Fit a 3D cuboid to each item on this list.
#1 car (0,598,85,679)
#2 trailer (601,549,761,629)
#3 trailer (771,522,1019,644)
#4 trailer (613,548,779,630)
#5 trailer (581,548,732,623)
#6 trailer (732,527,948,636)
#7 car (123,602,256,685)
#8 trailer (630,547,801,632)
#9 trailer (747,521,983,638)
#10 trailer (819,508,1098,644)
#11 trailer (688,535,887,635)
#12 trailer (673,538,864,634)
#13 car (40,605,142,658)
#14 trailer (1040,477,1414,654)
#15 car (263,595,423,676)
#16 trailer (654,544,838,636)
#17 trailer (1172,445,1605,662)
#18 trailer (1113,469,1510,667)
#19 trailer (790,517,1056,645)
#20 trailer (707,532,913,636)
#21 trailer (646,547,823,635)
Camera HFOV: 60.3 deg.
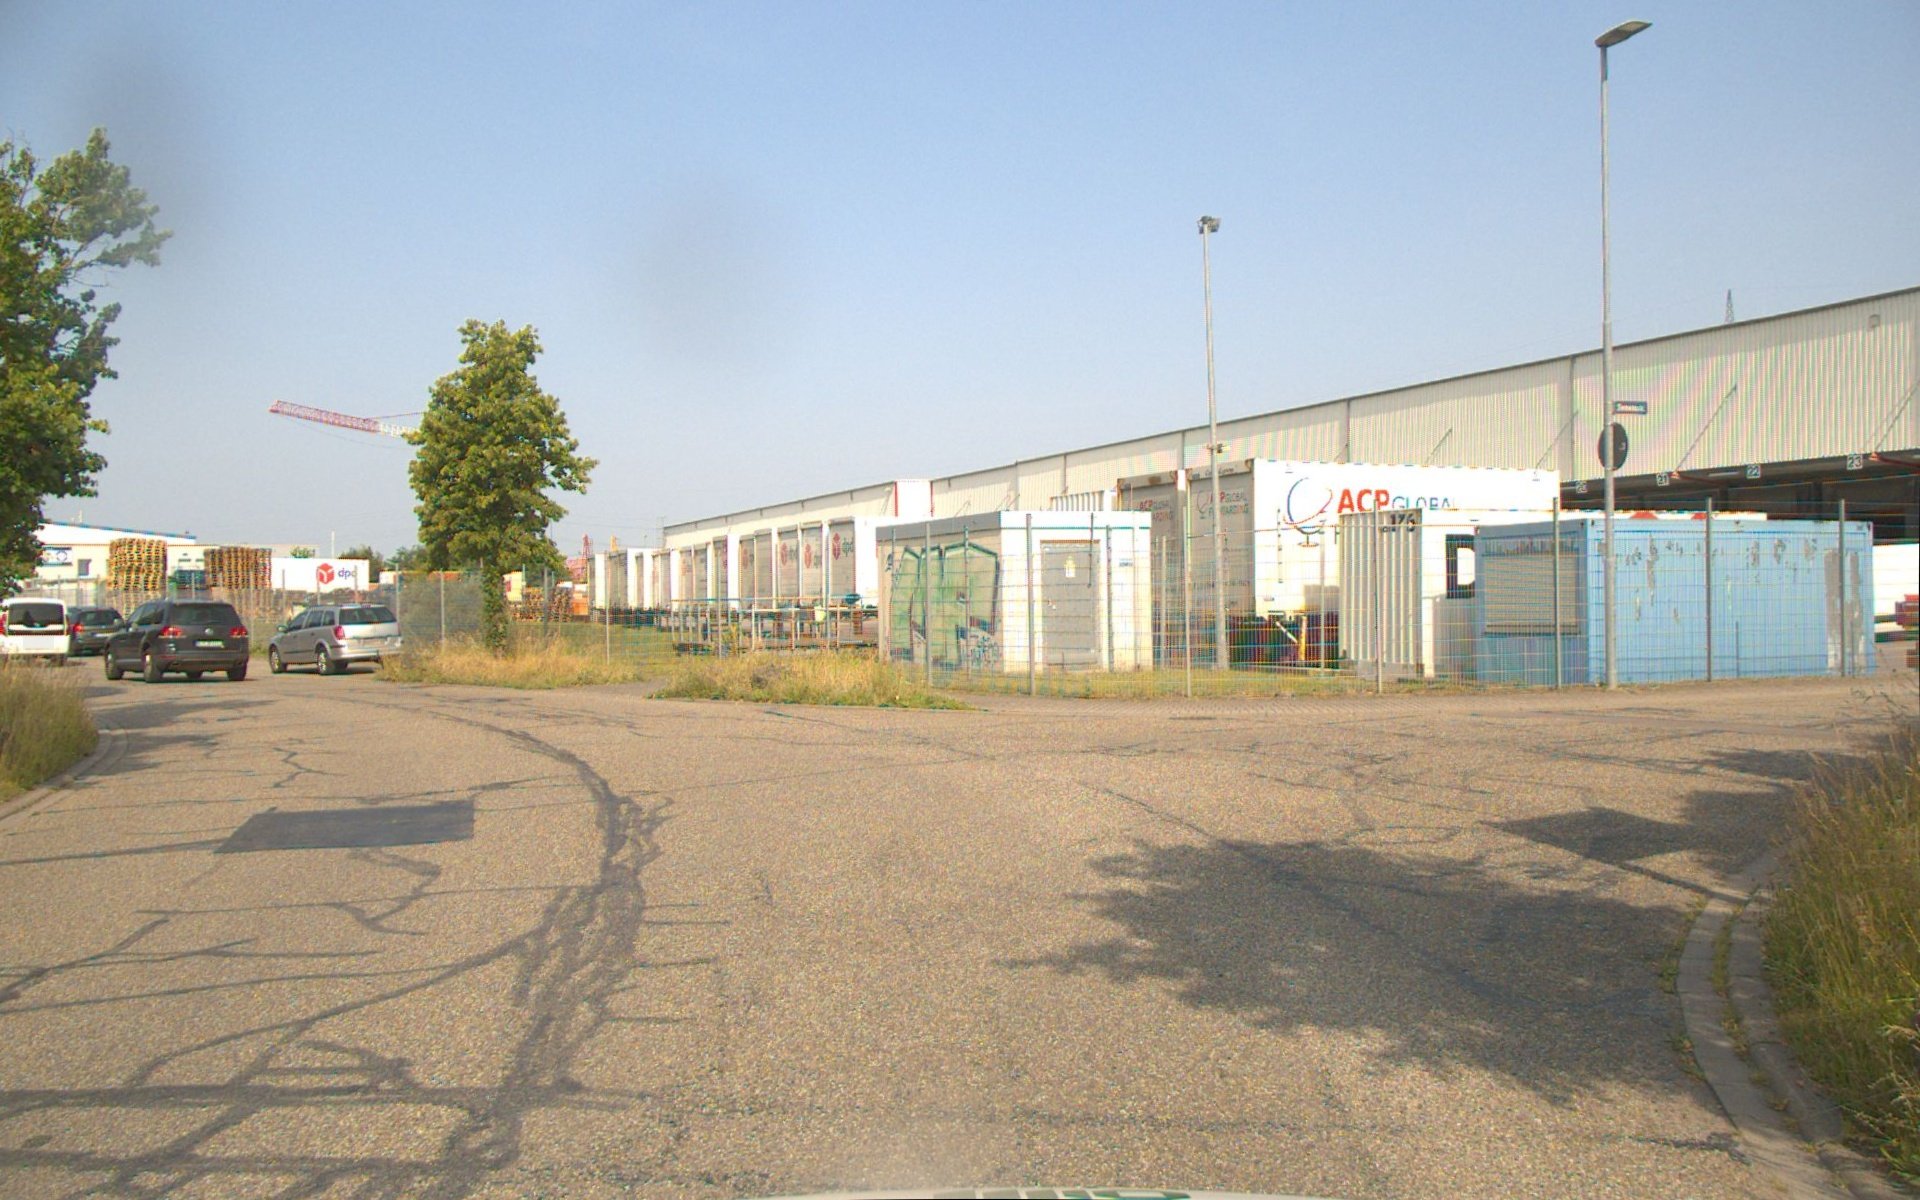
[{"bbox_3d":[-26.256,1.054,46.354,2.109,2.147,4.555,-1,0,-41],"label":"car"},{"bbox_3d":[-14.702,-0.563,87.179,7.861,3.962,2.754,1,0,-25],"label":"trailer"},{"bbox_3d":[-2.237,-0.537,57.899,8.201,3.962,2.754,1,0,-25],"label":"trailer"},{"bbox_3d":[-13.470,-0.516,84.548,7.861,3.962,2.754,1,0,-25],"label":"trailer"},{"bbox_3d":[-16.984,-0.798,92.732,7.861,3.962,2.721,1,0,-25],"label":"trailer"},{"bbox_3d":[-4.652,-0.674,64.462,7.930,3.962,2.754,1,0,-25],"label":"trailer"},{"bbox_3d":[-16.287,0.886,34.881,1.865,1.614,4.062,-1,0,-35],"label":"car"},{"bbox_3d":[-12.044,-0.485,81.569,7.861,3.962,2.754,1,0,-25],"label":"trailer"},{"bbox_3d":[-3.443,-0.688,60.691,8.201,3.962,2.754,1,0,-25],"label":"trailer"},{"bbox_3d":[0.009,-0.687,52.226,8.427,3.962,2.754,1,0,-25],"label":"trailer"},{"bbox_3d":[-7.250,-0.577,69.761,7.861,3.962,2.754,1,0,-25],"label":"trailer"},{"bbox_3d":[-8.388,-0.566,72.653,7.861,3.962,2.754,1,0,-25],"label":"trailer"},{"bbox_3d":[-27.559,0.979,52.407,3.937,1.541,1.708,-1,2,45],"label":"car"},{"bbox_3d":[6.330,-0.745,38.826,8.619,3.827,2.769,0,-1,-25],"label":"trailer"},{"bbox_3d":[-14.011,0.768,37.449,1.791,1.654,4.378,-3,2,-43],"label":"car"},{"bbox_3d":[-9.749,-0.426,75.498,7.861,3.962,2.754,1,0,-25],"label":"trailer"},{"bbox_3d":[8.649,-0.846,33.262,8.419,3.962,2.756,-1,-2,-23],"label":"trailer"},{"bbox_3d":[7.728,-0.745,36.112,8.422,3.961,2.756,-2,0,-24],"label":"trailer"},{"bbox_3d":[-1.181,-0.562,55.037,8.427,3.962,2.754,1,0,-25],"label":"trailer"},{"bbox_3d":[-6.057,-0.607,67.073,7.861,3.962,2.754,1,0,-25],"label":"trailer"},{"bbox_3d":[-10.727,-0.391,78.720,7.861,3.962,2.754,1,0,-25],"label":"trailer"}]
